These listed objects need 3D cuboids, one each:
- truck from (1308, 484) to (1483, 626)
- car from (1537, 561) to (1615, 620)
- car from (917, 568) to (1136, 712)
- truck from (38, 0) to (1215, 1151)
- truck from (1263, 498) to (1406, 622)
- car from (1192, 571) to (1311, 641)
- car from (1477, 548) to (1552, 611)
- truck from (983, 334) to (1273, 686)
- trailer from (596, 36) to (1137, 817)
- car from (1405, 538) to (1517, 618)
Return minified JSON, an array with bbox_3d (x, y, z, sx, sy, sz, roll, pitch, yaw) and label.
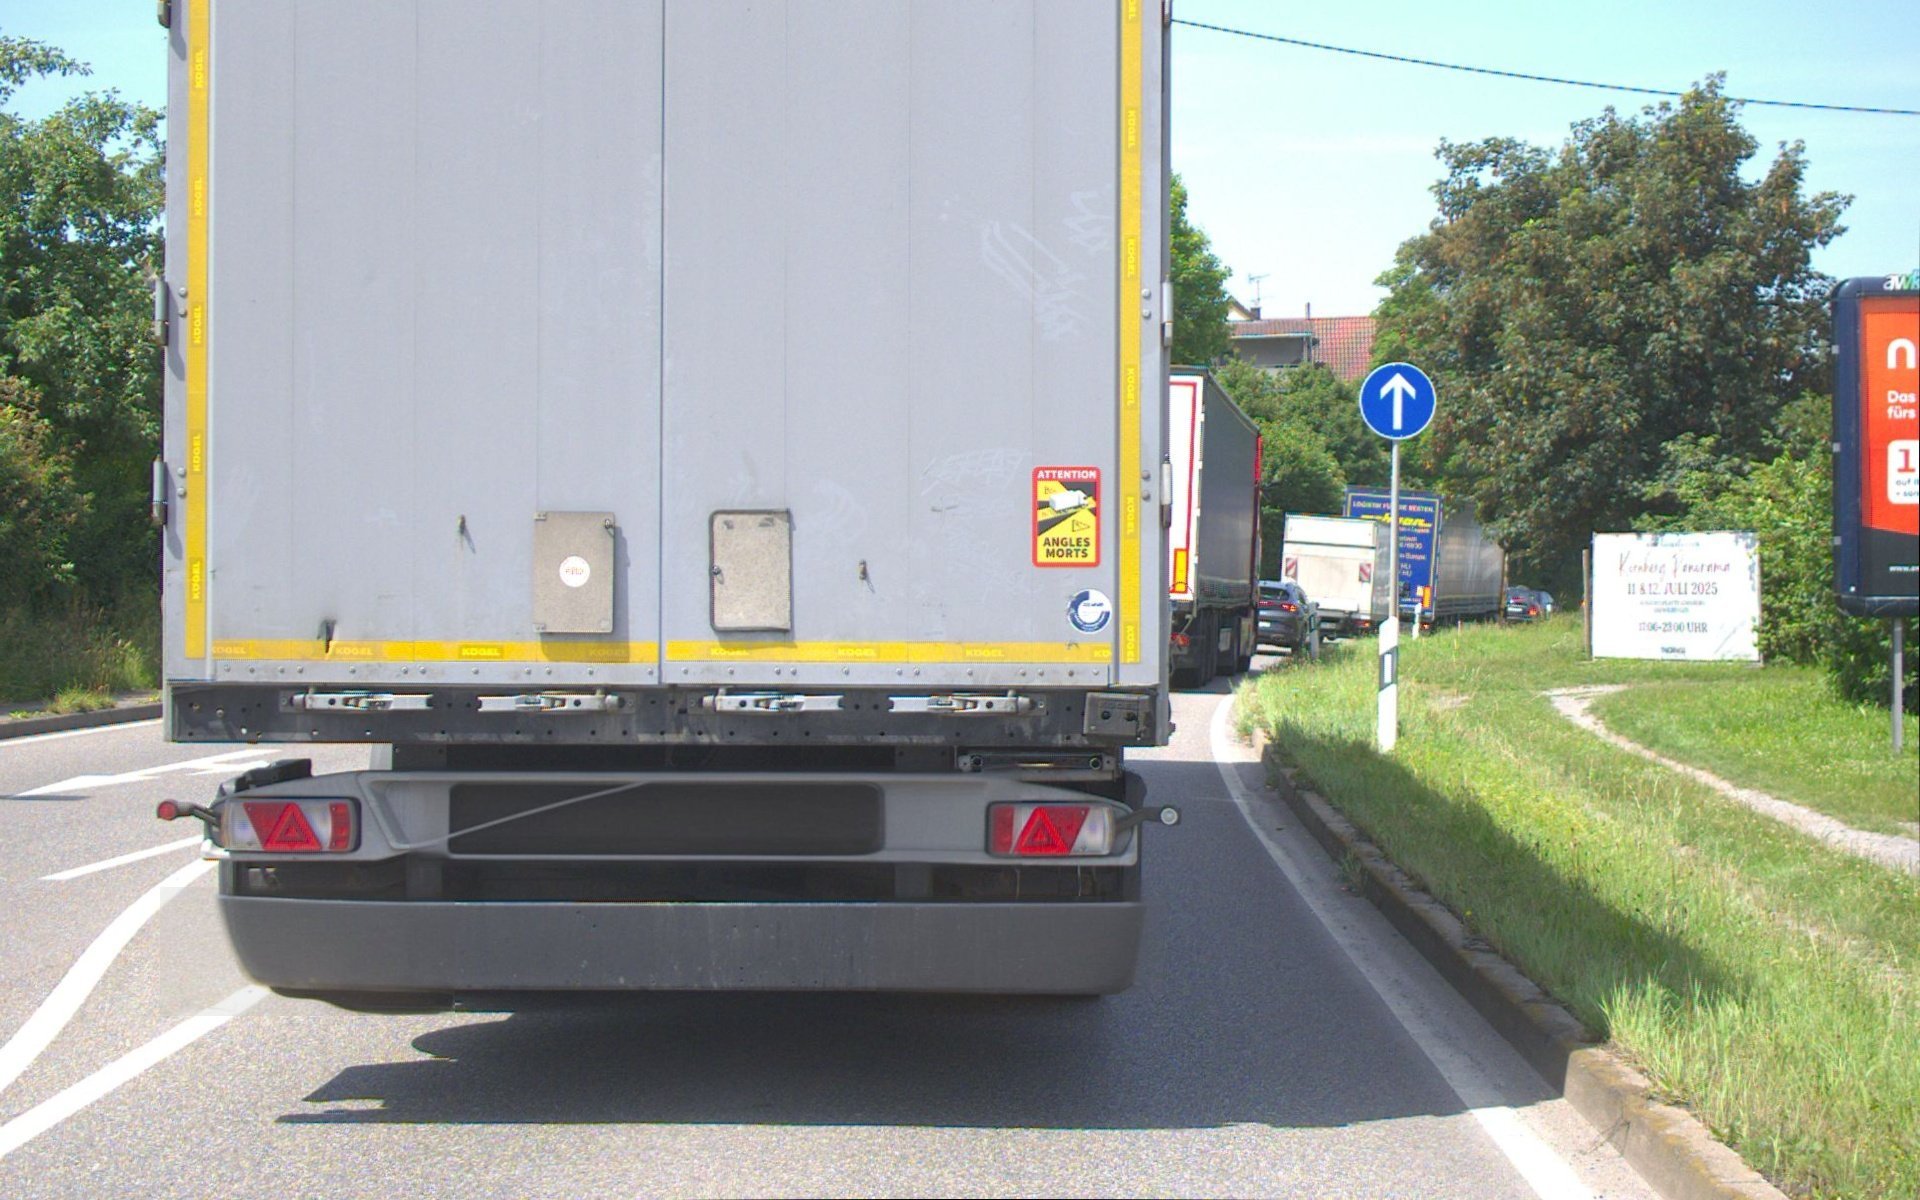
[{"bbox_3d":[11.829,-1.257,92.669,3.435,3.592,9.347,1,1,15],"label":"truck"},{"bbox_3d":[21.536,-0.331,120.103,1.995,2.007,3.996,1,0,20],"label":"car"},{"bbox_3d":[0.730,0.379,34.899,1.819,1.342,3.846,1,0,7],"label":"car"},{"bbox_3d":[-0.628,-0.863,14.021,2.822,4.113,11.443,1,1,2],"label":"truck"},{"bbox_3d":[8.918,-0.906,81.401,2.545,2.793,6.028,1,0,14],"label":"truck"},{"bbox_3d":[6.098,0.118,71.624,1.994,1.371,3.998,1,0,11],"label":"car"},{"bbox_3d":[18.082,-0.655,111.992,1.995,2.007,3.997,1,0,15],"label":"car"},{"bbox_3d":[2.796,-1.123,50.286,2.761,4.274,16.410,1,0,8],"label":"truck"},{"bbox_3d":[-0.406,-0.978,21.377,2.825,4.097,6.544,0,1,2],"label":"trailer"},{"bbox_3d":[15.034,-0.701,102.822,2.533,2.269,6.376,1,1,15],"label":"car"}]
